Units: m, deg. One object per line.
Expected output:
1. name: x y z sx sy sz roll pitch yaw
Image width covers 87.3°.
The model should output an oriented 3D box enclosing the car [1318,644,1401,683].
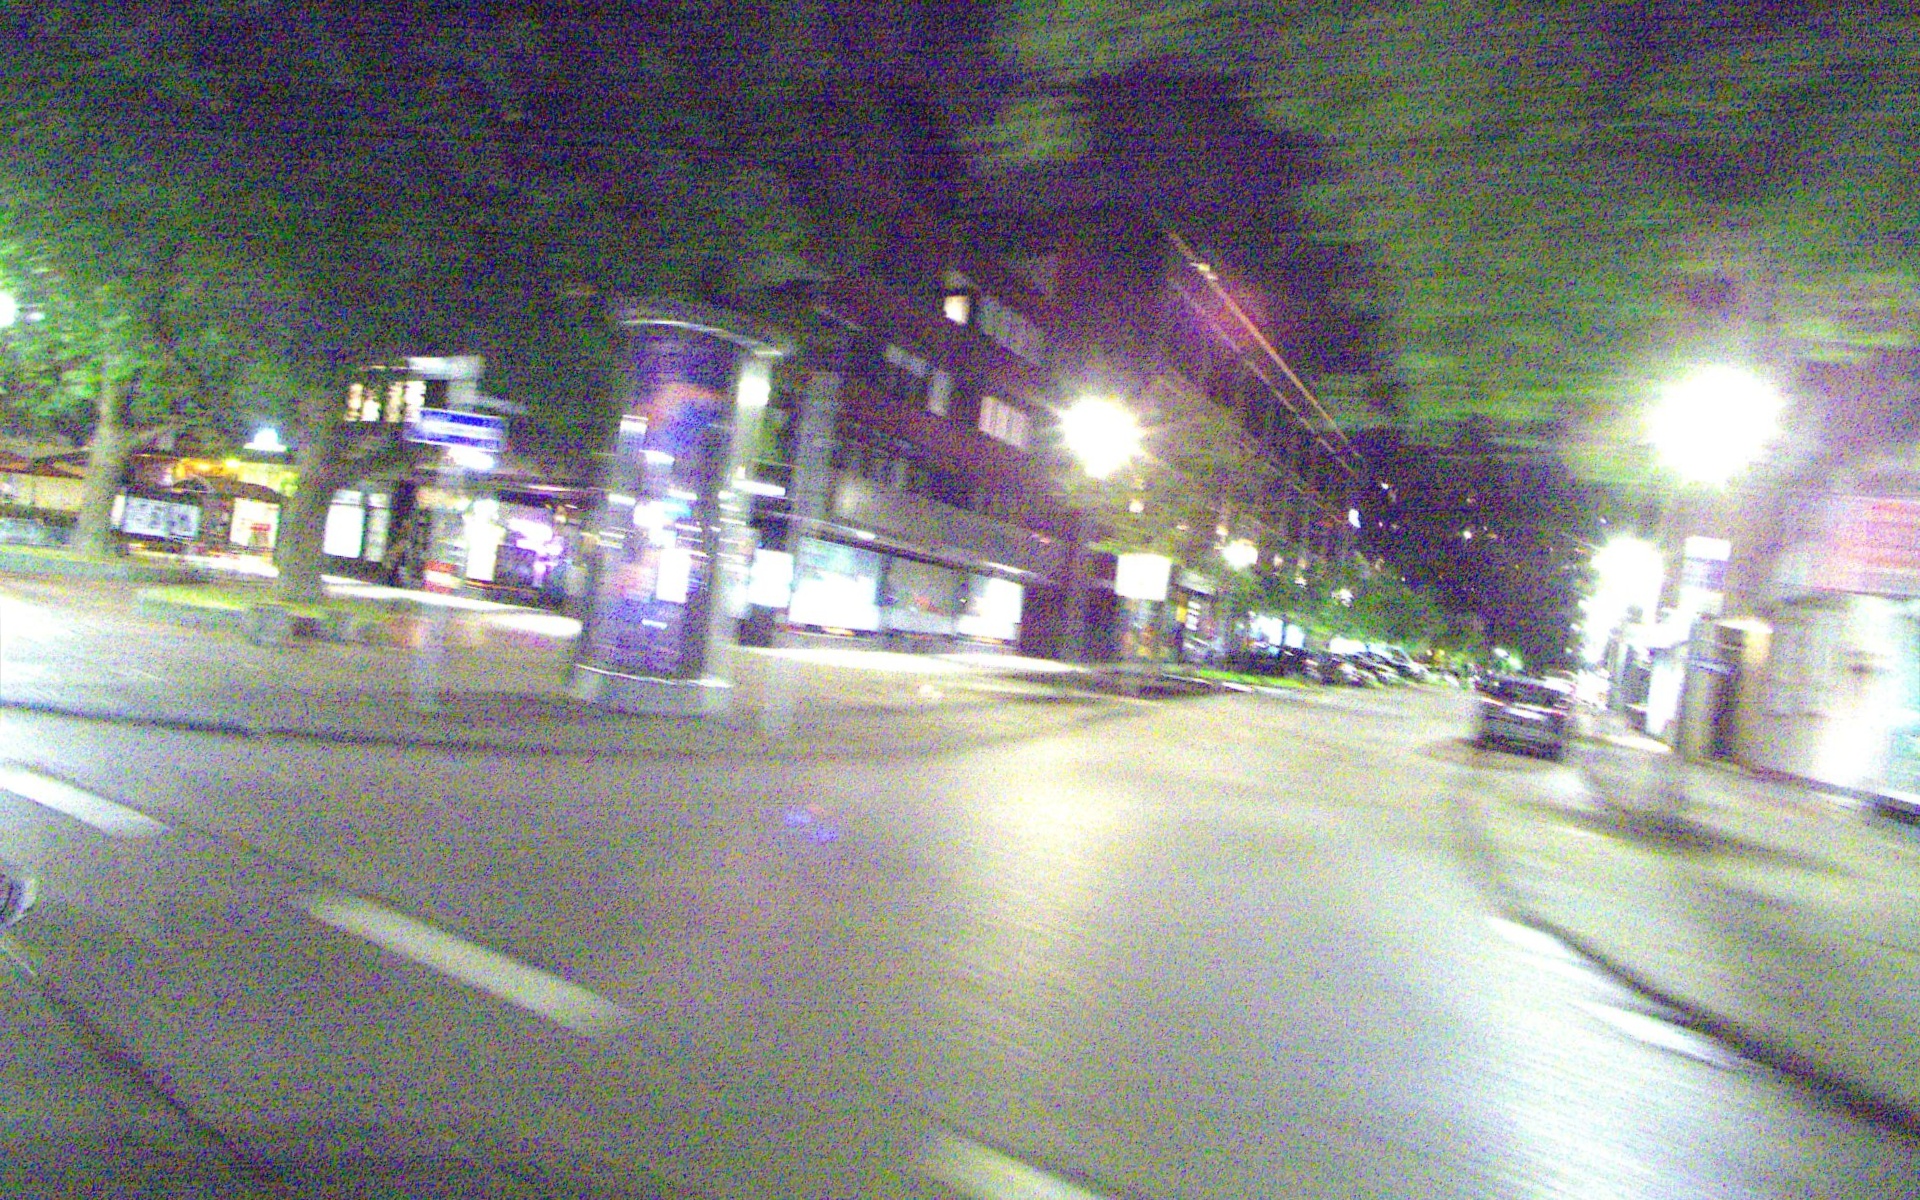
1. car: 21.061 3.336 53.050 3.732 1.496 1.750 6 -2 32

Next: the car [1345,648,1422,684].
1. car: 24.121 3.775 57.309 3.732 1.496 1.750 6 -2 32

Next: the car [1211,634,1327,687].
1. car: 12.130 2.372 39.580 3.934 1.496 1.750 6 -2 32

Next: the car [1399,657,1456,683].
1. car: 35.928 5.364 77.310 3.732 1.496 1.750 6 -2 32

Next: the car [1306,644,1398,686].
1. car: 18.757 3.097 48.107 3.732 1.496 1.750 6 -2 32

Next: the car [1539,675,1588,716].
1. car: 26.916 4.232 44.803 1.625 1.518 3.515 8 0 33

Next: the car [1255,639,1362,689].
1. car: 14.316 2.626 41.335 3.732 1.496 1.750 6 -2 32

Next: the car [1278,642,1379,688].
1. car: 16.002 2.818 43.700 3.732 1.496 1.750 6 -2 32

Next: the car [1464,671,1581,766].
1. car: 12.371 2.512 22.024 1.869 1.609 3.991 8 0 32
